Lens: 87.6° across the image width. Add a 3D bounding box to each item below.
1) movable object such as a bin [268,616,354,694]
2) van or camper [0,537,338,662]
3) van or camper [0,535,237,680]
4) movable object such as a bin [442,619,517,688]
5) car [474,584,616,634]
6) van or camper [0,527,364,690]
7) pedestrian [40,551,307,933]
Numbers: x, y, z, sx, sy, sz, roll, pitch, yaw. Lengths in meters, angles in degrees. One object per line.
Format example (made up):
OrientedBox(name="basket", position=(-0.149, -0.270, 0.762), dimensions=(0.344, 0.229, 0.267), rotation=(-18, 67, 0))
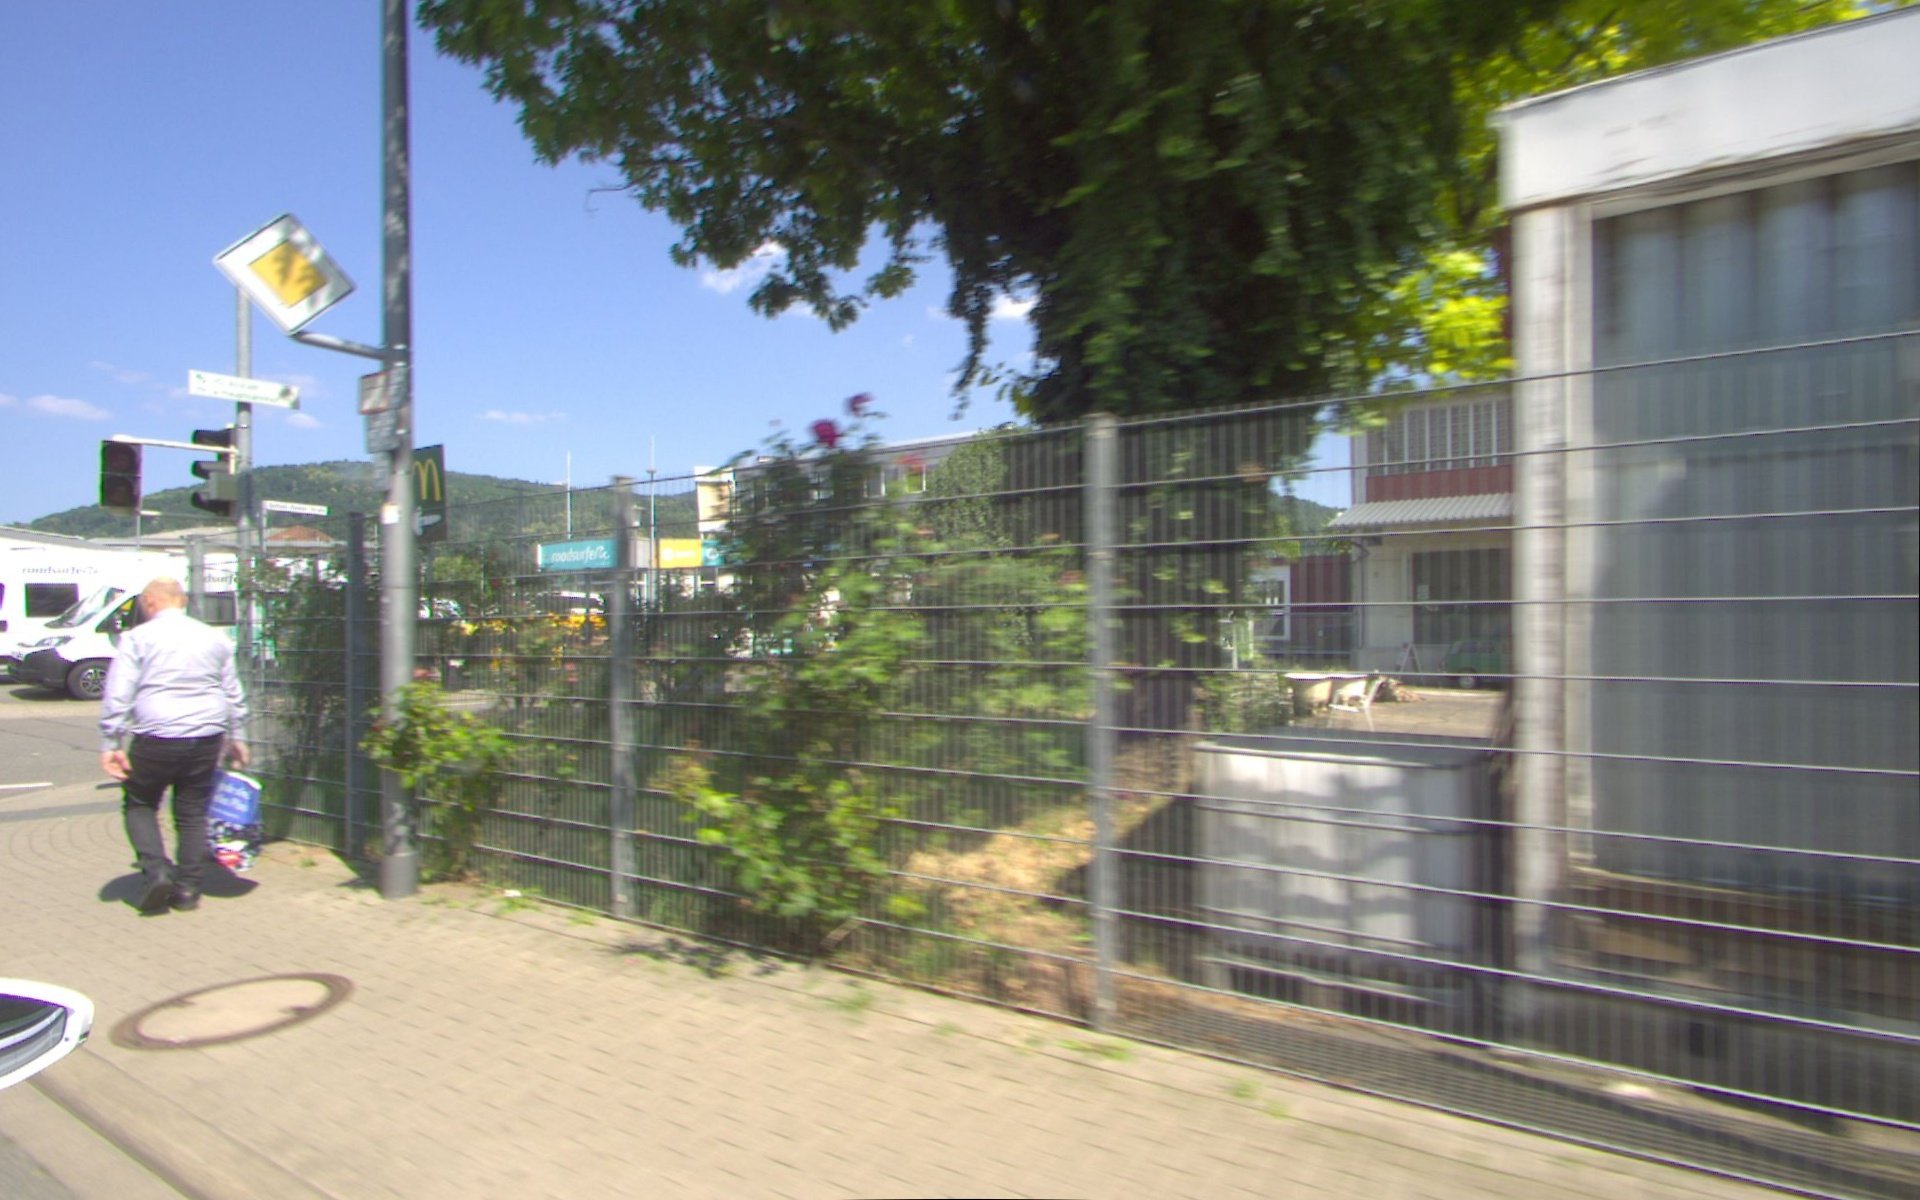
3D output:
OrientedBox(name="movable object such as a bin", position=(-13.154, 1.097, 20.296), dimensions=(1.067, 1.476, 1.245), rotation=(3, 1, 45))
OrientedBox(name="van or camper", position=(-21.391, -0.004, 27.452), dimensions=(2.302, 2.985, 7.045), rotation=(-1, 0, 33))
OrientedBox(name="van or camper", position=(-18.777, 0.152, 20.764), dimensions=(2.062, 2.810, 5.794), rotation=(1, 0, 35))
OrientedBox(name="movable object such as a bin", position=(-10.964, 1.206, 22.861), dimensions=(1.007, 1.495, 1.230), rotation=(2, 1, 41))
OrientedBox(name="car", position=(-18.108, 0.435, 43.933), dimensions=(2.111, 2.039, 5.433), rotation=(0, -2, 38))
OrientedBox(name="van or camper", position=(-15.568, 0.213, 20.382), dimensions=(2.021, 2.851, 5.490), rotation=(2, 0, 37))
OrientedBox(name="pedestrian", position=(-3.984, 0.646, 5.092), dimensions=(0.874, 1.722, 0.811), rotation=(0, 0, 31))
